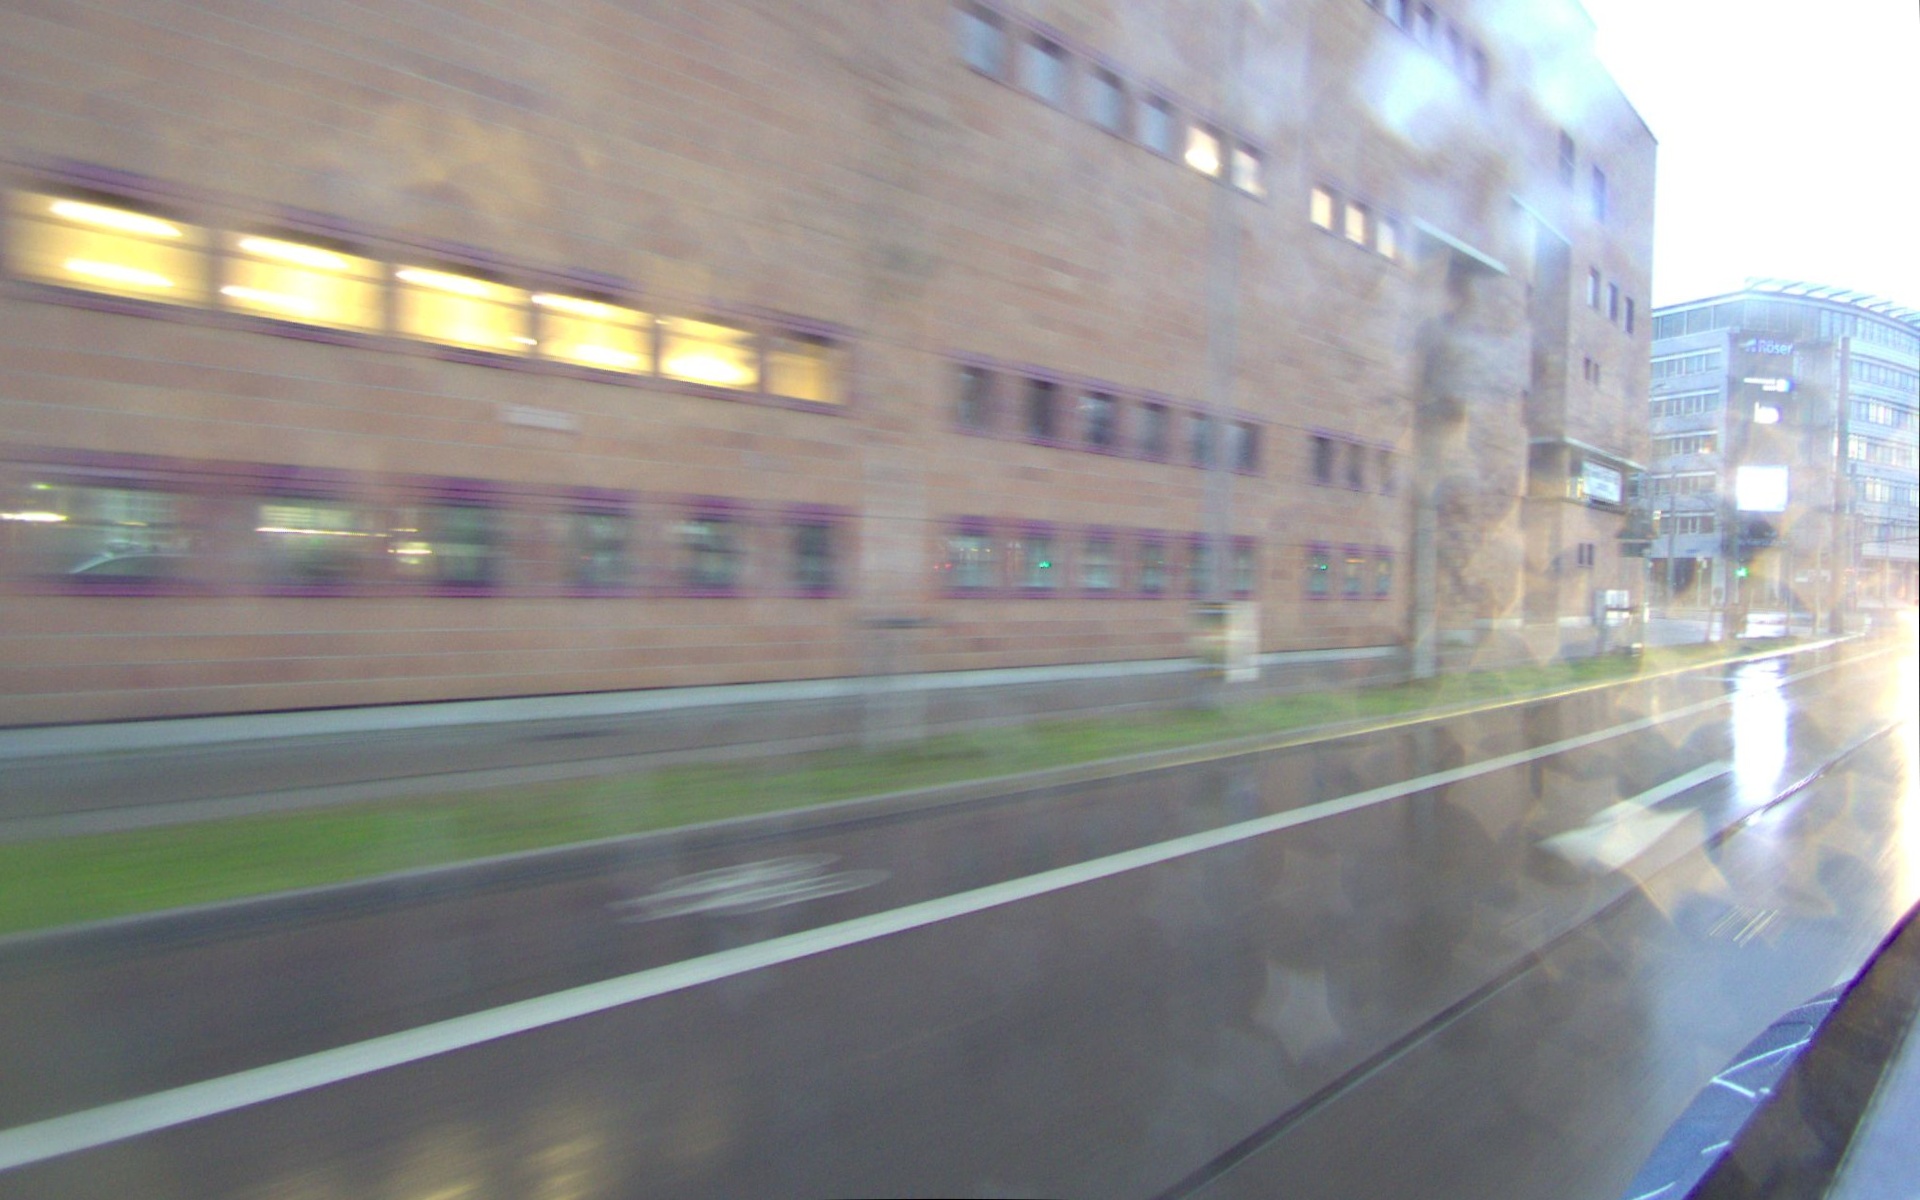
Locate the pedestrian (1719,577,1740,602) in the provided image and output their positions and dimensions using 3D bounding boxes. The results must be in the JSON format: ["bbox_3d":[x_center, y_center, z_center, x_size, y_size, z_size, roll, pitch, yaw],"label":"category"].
[{"bbox_3d":[57.124,-0.774,75.139,1.147,1.809,0.766,3,2,40],"label":"pedestrian"}]

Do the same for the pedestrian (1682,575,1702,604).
[{"bbox_3d":[46.435,-0.689,64.235,0.789,1.833,0.647,2,2,16],"label":"pedestrian"}]
